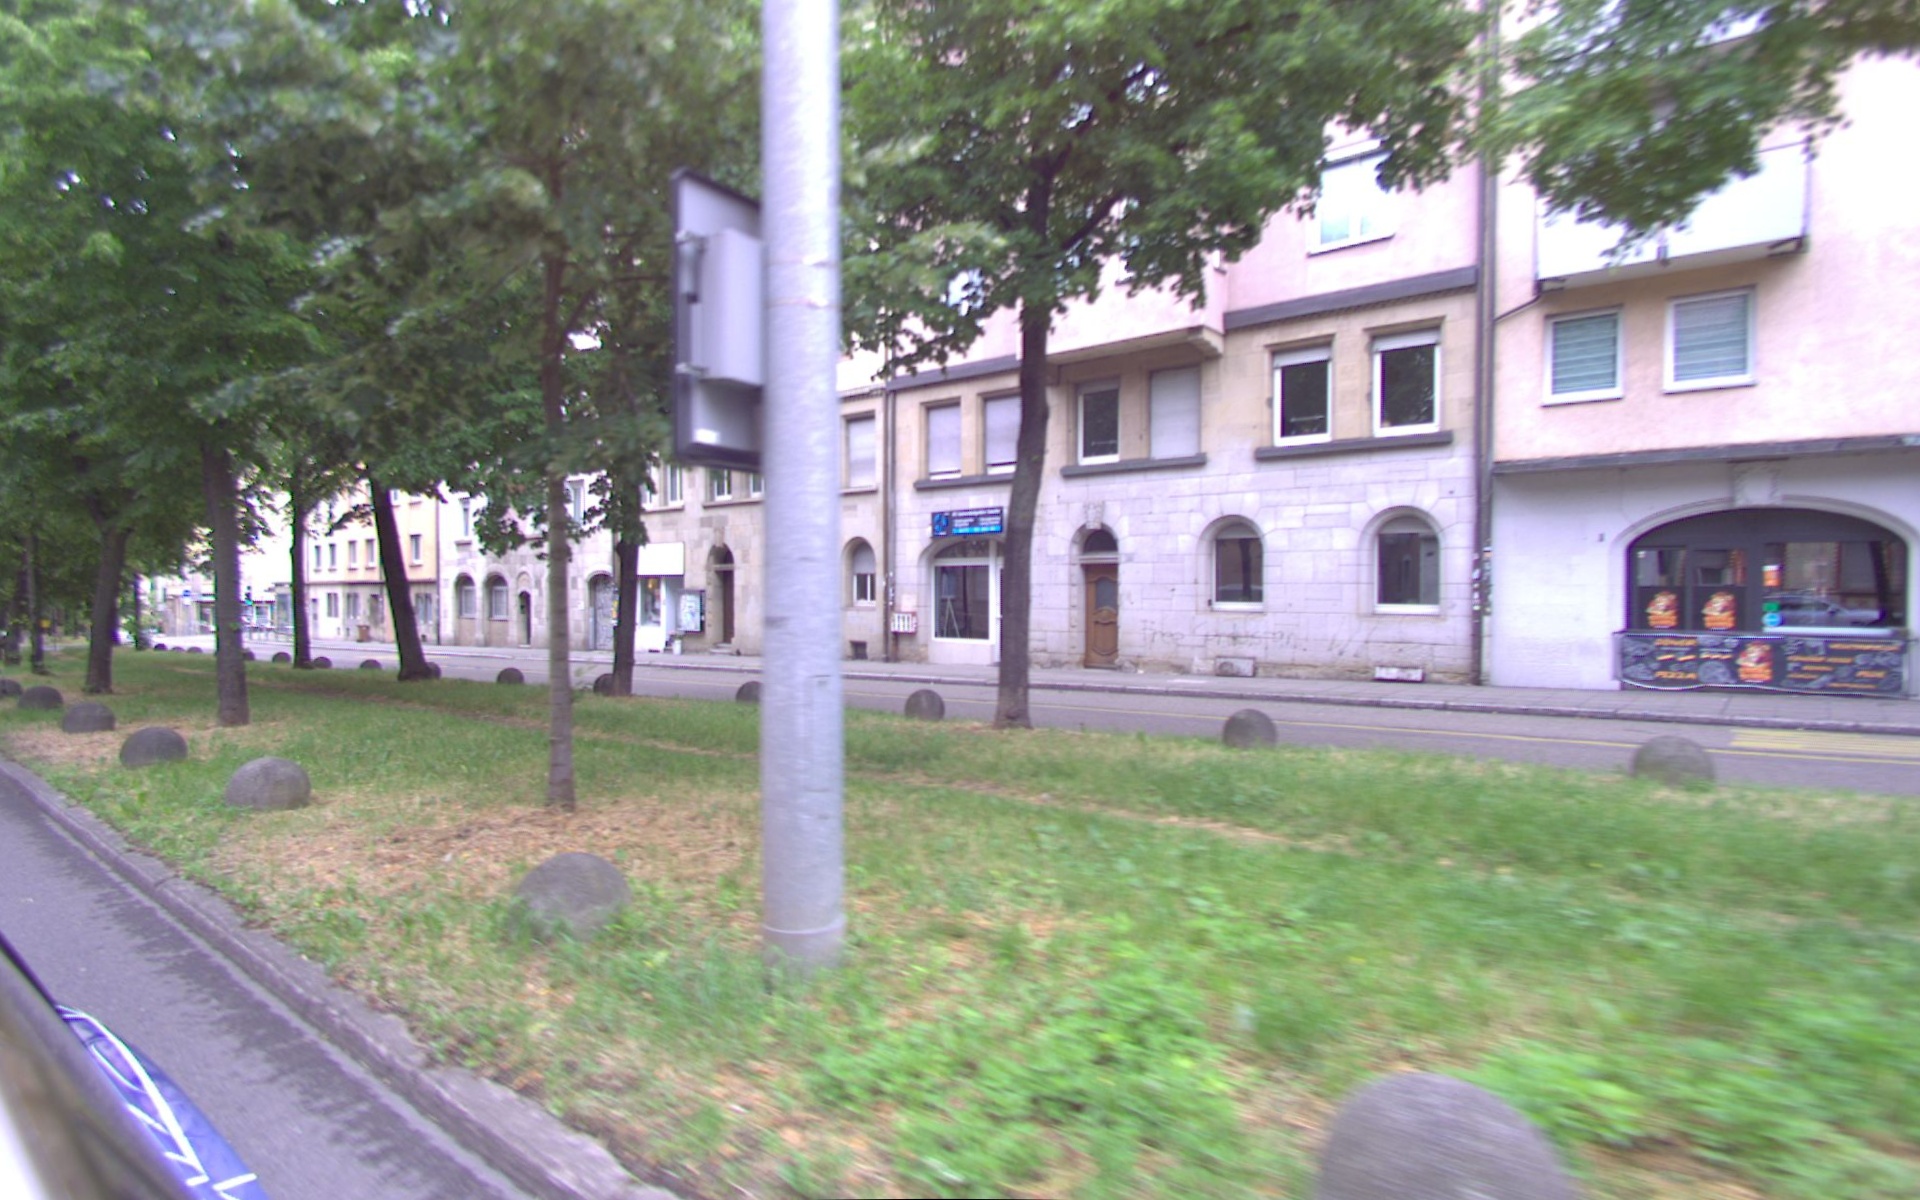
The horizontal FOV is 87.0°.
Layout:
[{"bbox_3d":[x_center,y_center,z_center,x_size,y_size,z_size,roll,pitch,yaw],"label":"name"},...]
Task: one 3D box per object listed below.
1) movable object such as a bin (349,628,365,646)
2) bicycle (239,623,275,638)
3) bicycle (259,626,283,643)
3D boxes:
[{"bbox_3d":[-31.043,1.907,52.130,0.779,0.934,0.506,-2,0,44],"label":"movable object such as a bin"},{"bbox_3d":[-57.490,2.465,82.800,2.309,1.108,0.777,-2,0,-27],"label":"bicycle"},{"bbox_3d":[-49.956,2.506,73.353,2.052,1.158,0.676,-4,0,33],"label":"bicycle"}]
